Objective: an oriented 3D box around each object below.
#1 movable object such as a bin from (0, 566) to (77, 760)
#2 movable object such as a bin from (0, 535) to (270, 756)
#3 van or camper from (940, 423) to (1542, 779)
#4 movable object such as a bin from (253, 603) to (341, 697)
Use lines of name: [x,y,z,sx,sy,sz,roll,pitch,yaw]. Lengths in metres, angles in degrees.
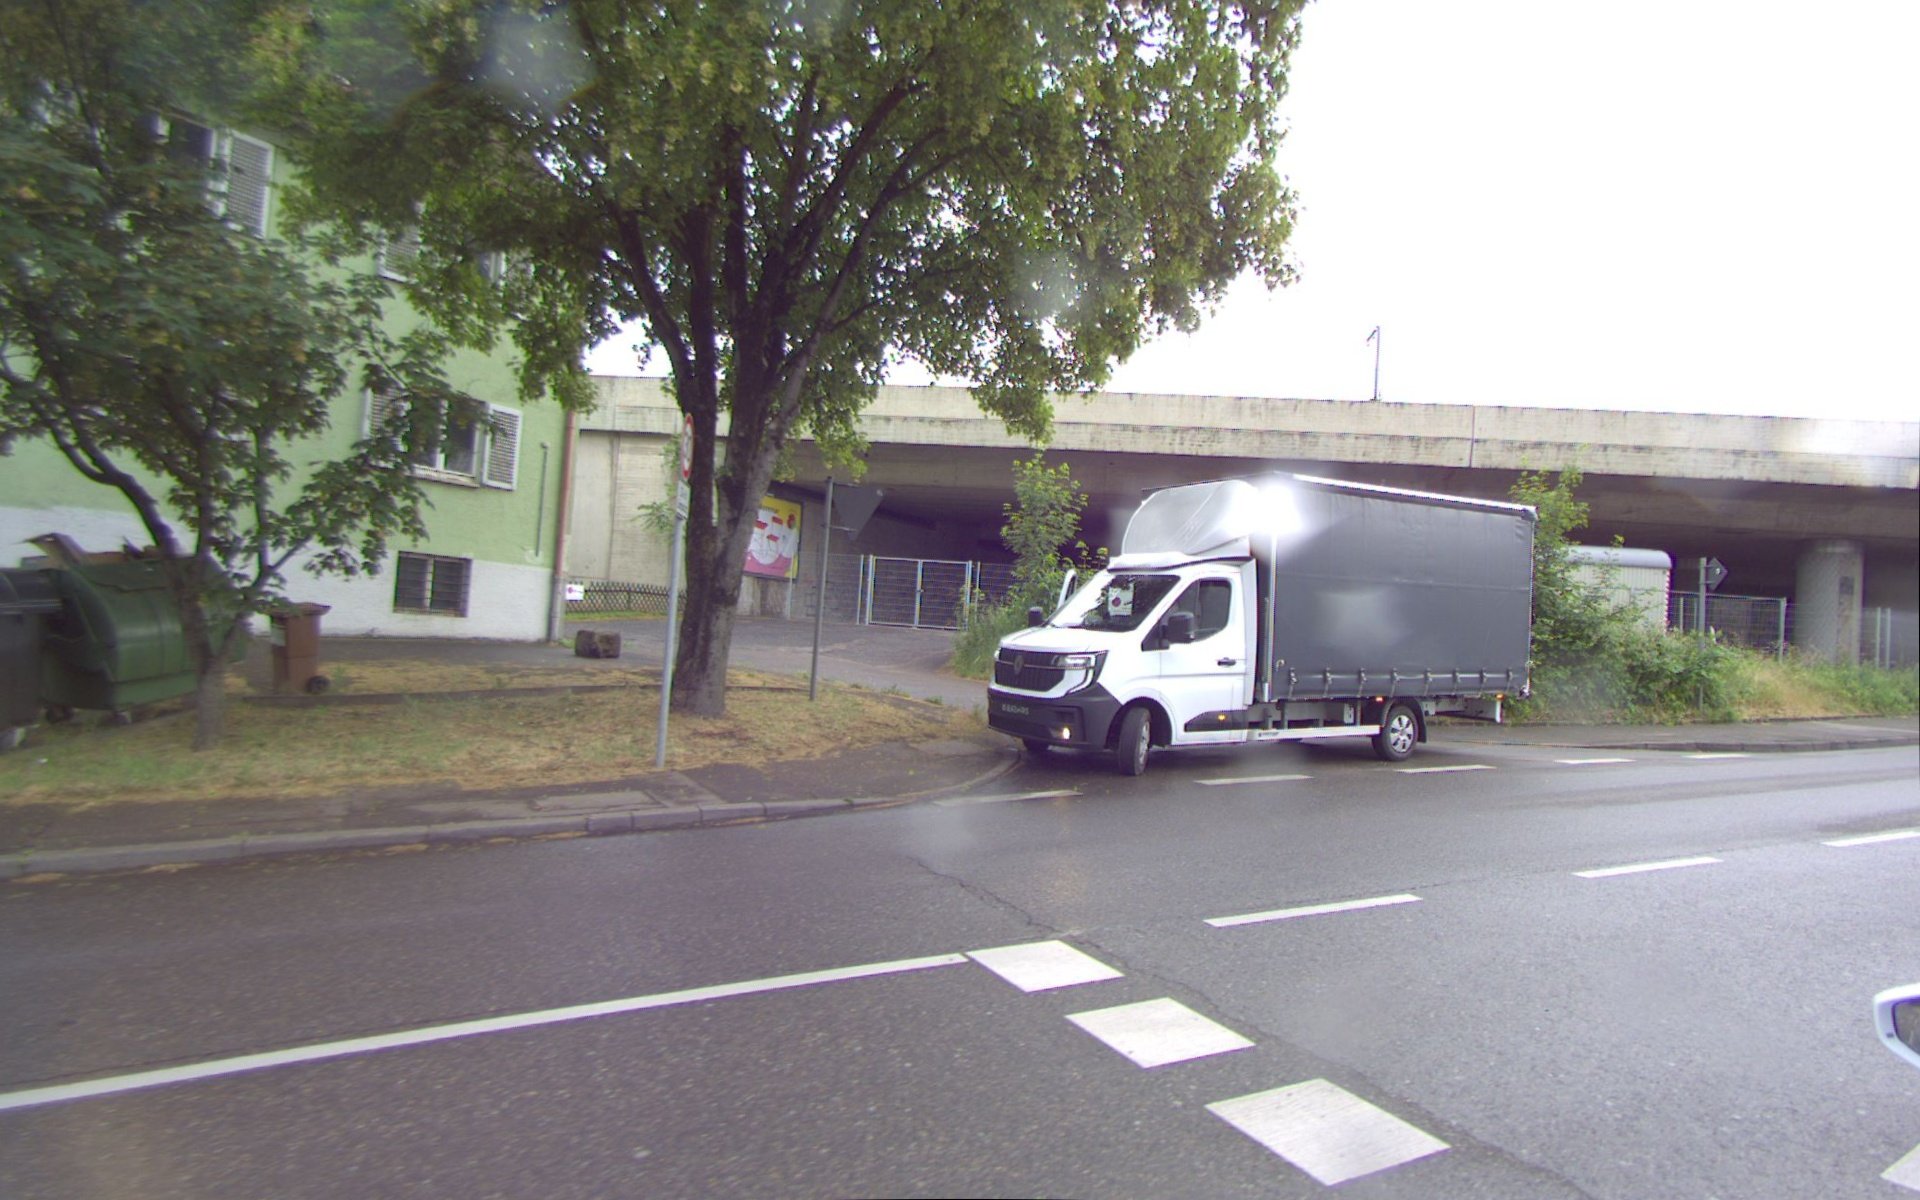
movable object such as a bin: [-8.016,0.465,7.690,1.444,1.460,1.376,2,2,22]
movable object such as a bin: [-7.505,0.337,9.101,1.547,1.785,1.453,2,2,22]
van or camper: [3.776,0.168,12.637,7.671,3.379,2.685,3,-1,-30]
movable object such as a bin: [-6.924,0.502,10.501,0.531,0.922,0.562,2,2,21]
